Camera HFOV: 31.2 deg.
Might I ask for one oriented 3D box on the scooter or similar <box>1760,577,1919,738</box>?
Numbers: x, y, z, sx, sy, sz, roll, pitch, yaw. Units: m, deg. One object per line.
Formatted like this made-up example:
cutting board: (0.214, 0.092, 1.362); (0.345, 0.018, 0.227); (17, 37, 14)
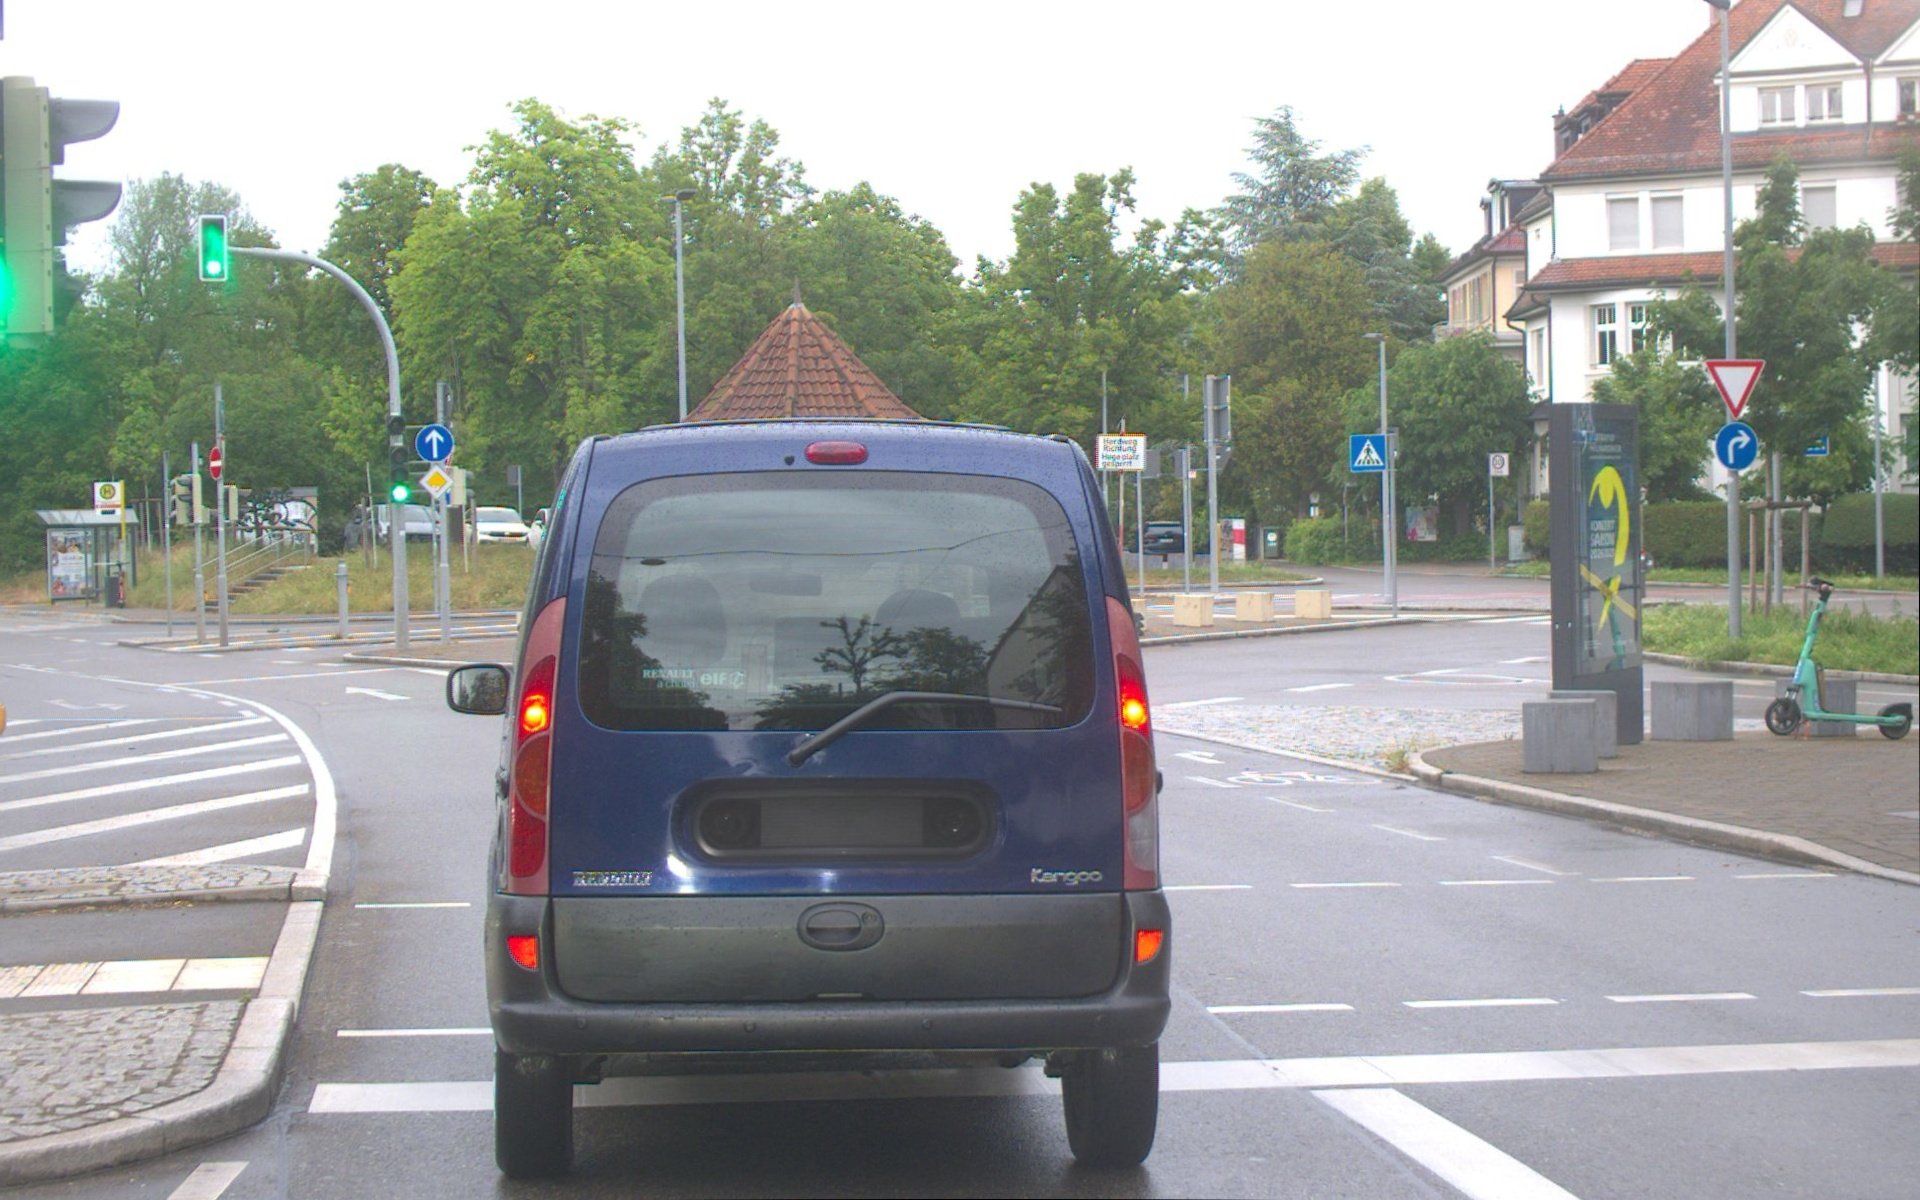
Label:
scooter or similar: (6.770, 0.438, 26.365); (1.149, 1.215, 0.406); (-1, -1, -1)

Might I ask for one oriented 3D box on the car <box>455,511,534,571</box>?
car: (-14.653, -1.846, 108.367); (1.993, 1.806, 4.000); (0, 0, -1)

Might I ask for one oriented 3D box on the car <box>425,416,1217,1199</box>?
car: (-0.383, 0.456, 9.531); (1.731, 1.780, 4.001); (0, 1, -2)
